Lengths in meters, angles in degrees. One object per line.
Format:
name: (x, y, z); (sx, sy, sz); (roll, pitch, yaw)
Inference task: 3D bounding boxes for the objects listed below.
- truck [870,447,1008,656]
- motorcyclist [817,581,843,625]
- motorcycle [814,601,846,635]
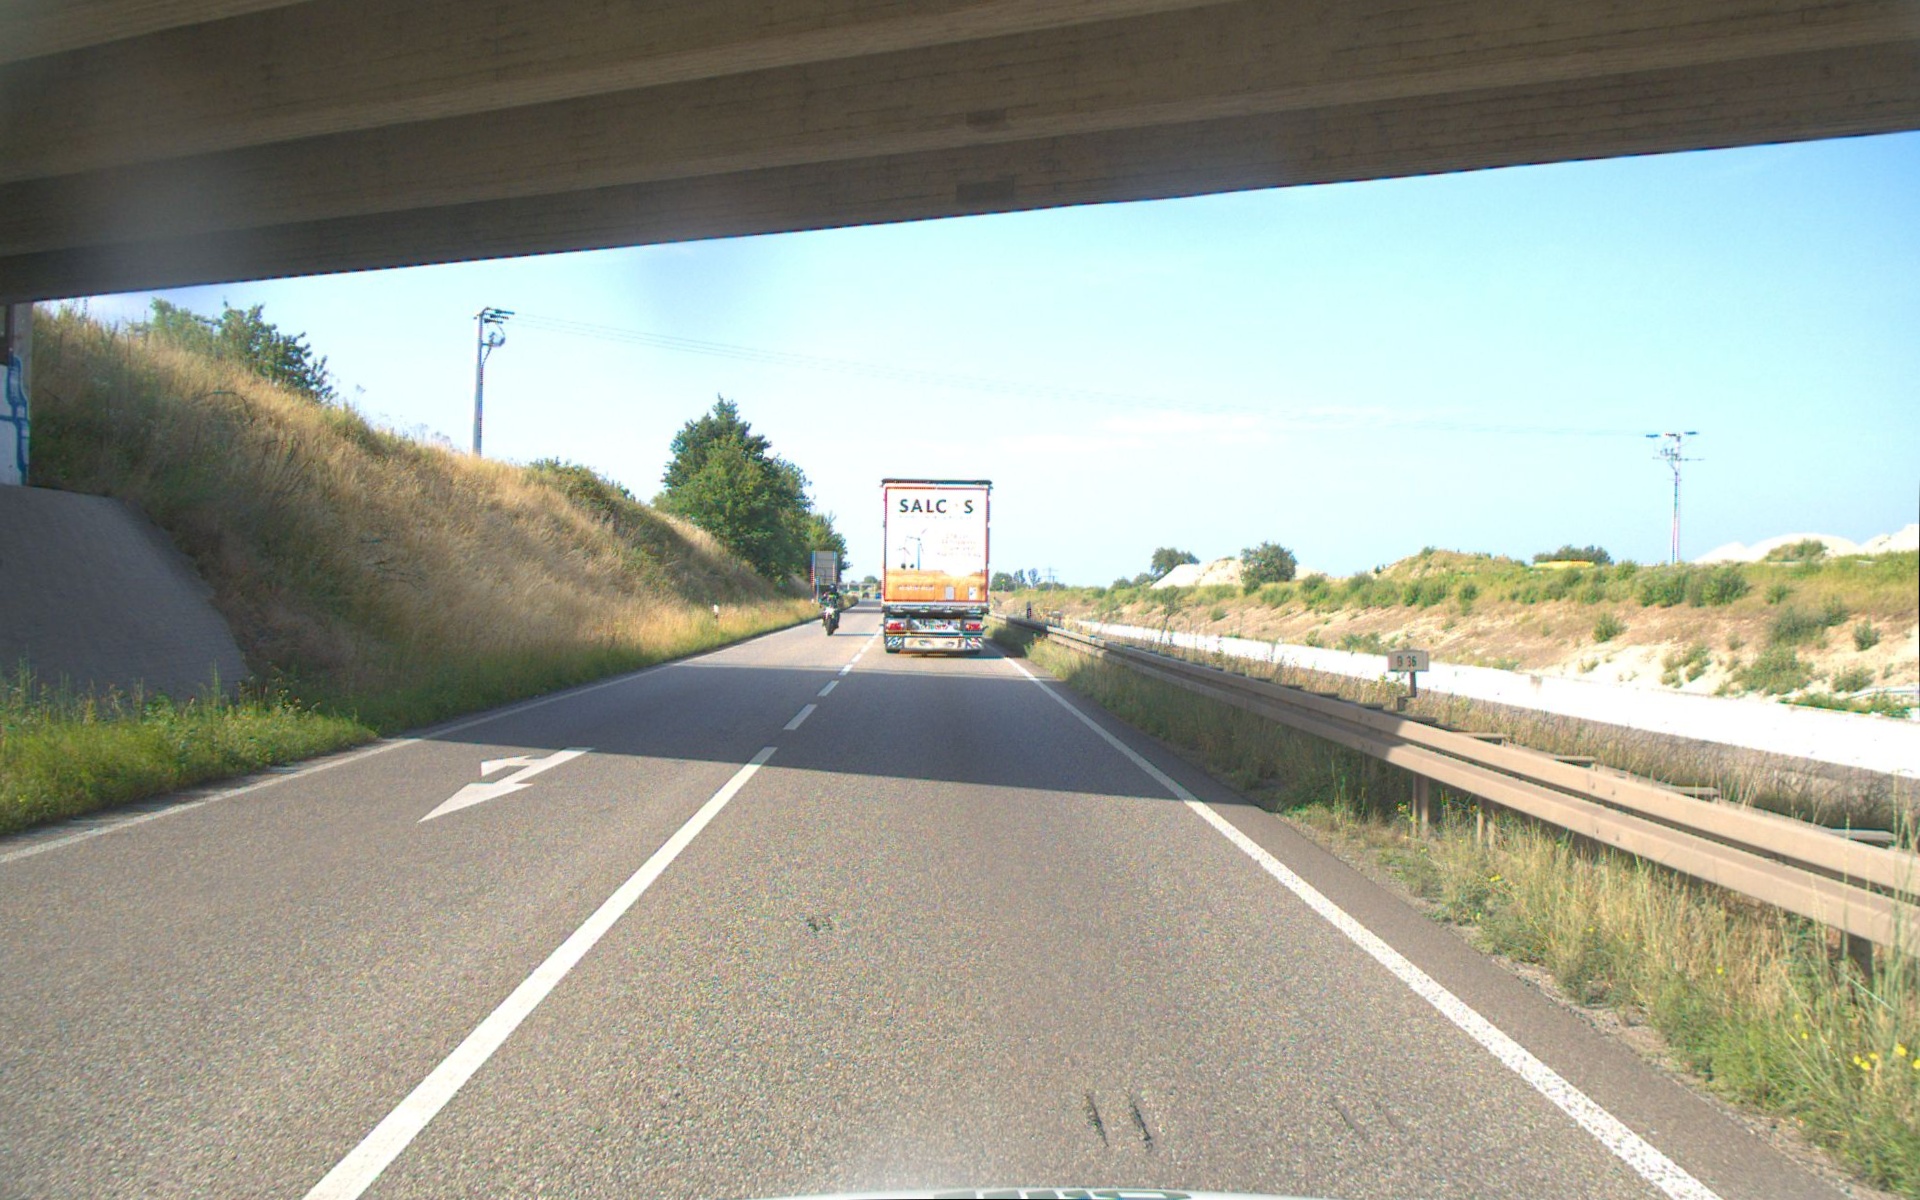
truck: (-0.708, -1.121, 42.385); (3.090, 4.770, 8.435); (1, 0, -3)
motorcyclist: (-4.461, 0.096, 56.908); (0.862, 1.477, 1.283); (0, 0, -3)
motorcycle: (-4.463, 0.615, 56.857); (1.020, 1.137, 2.131); (0, 0, -3)
